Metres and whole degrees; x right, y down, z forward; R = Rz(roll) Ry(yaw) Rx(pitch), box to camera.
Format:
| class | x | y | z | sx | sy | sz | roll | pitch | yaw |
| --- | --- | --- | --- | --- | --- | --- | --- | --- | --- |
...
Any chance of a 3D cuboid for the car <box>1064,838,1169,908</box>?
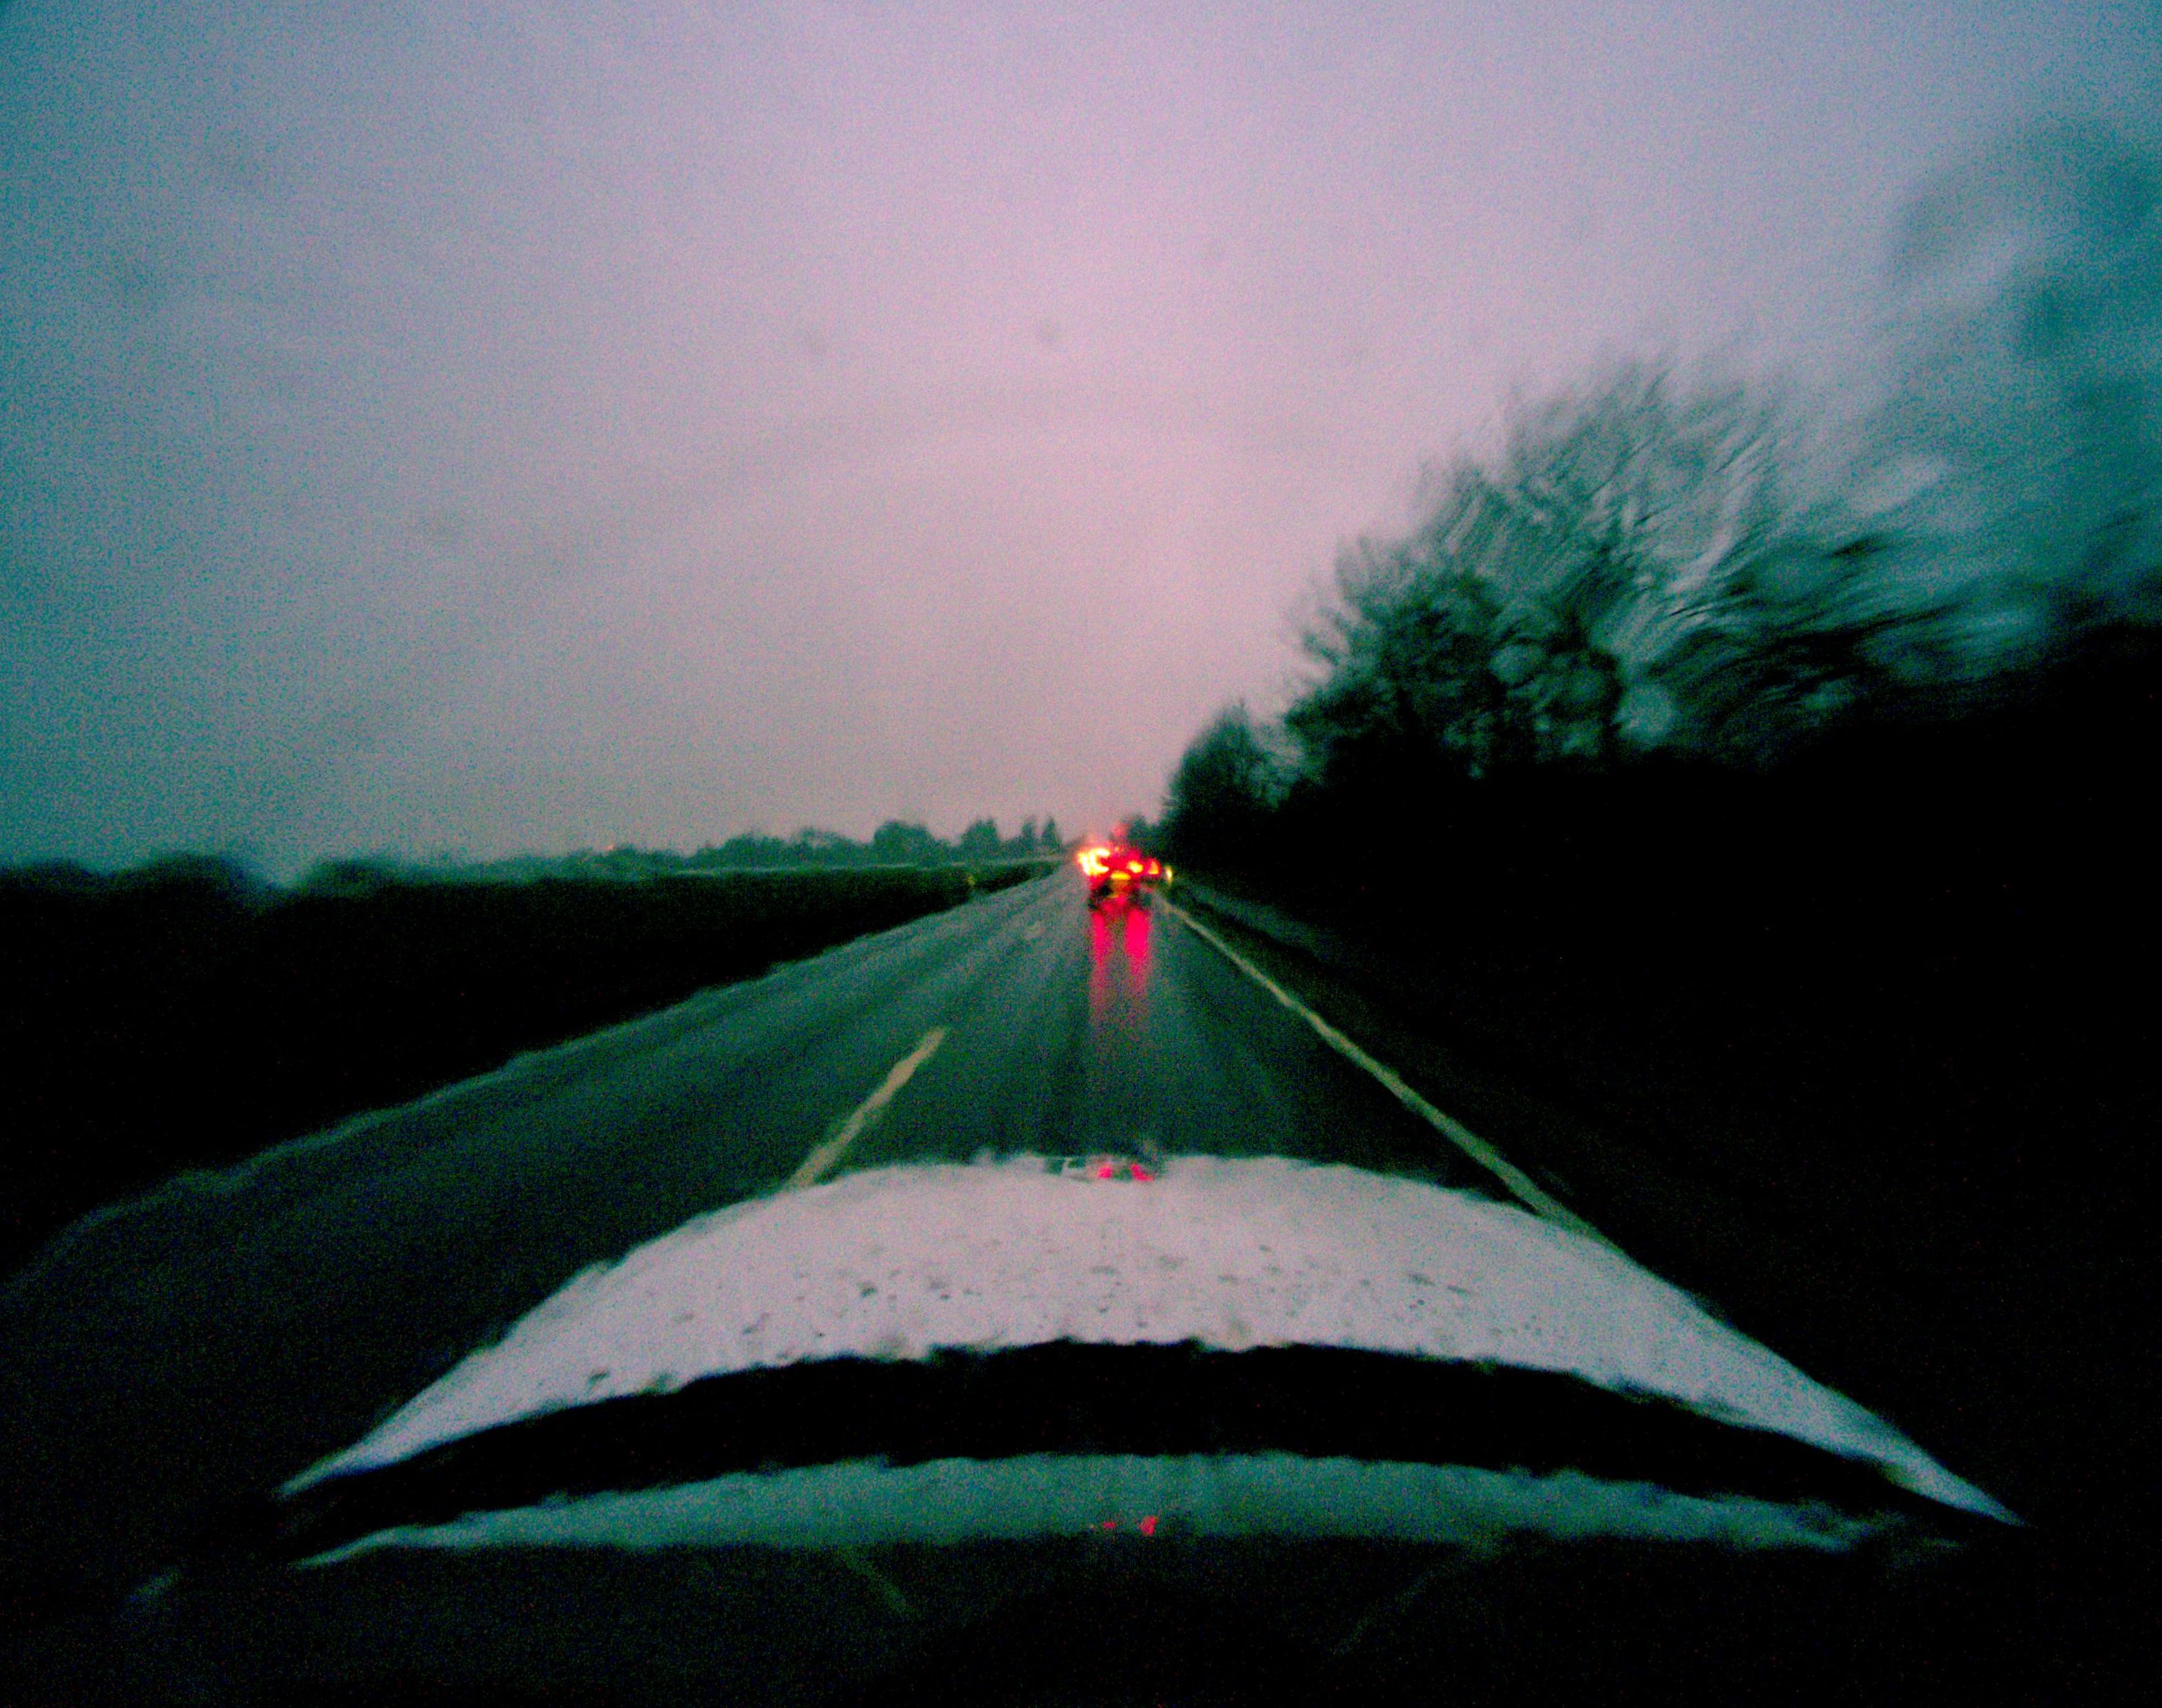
| class | x | y | z | sx | sy | sz | roll | pitch | yaw |
| --- | --- | --- | --- | --- | --- | --- | --- | --- | --- |
| car | 1.242 | 0.555 | 28.449 | 3.152 | 2.035 | 6.855 | -2 | 0 | 2 |

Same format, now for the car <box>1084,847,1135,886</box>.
| class | x | y | z | sx | sy | sz | roll | pitch | yaw |
| --- | --- | --- | --- | --- | --- | --- | --- | --- | --- |
| car | 1.709 | 0.668 | 47.922 | 2.745 | 2.035 | 6.594 | -2 | 0 | 2 |
